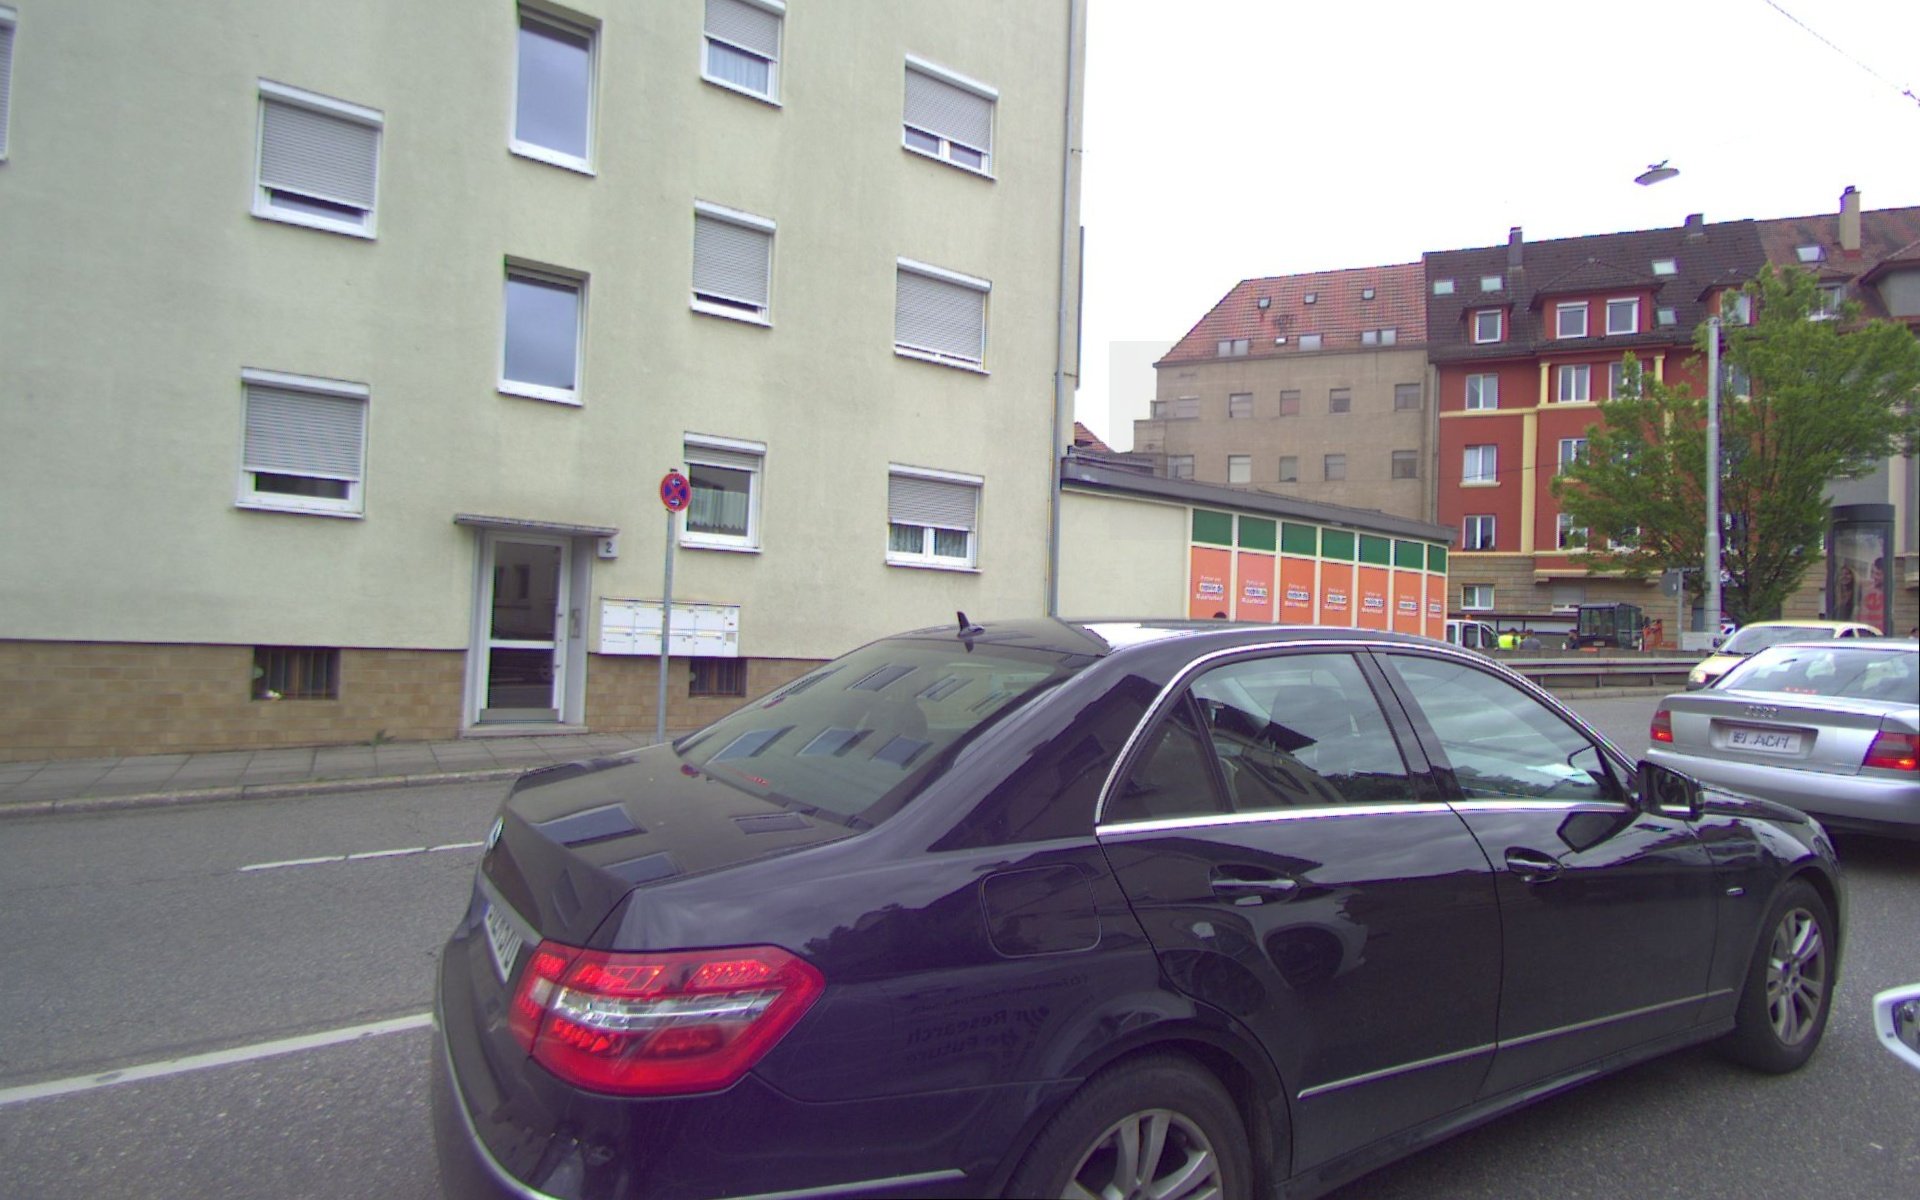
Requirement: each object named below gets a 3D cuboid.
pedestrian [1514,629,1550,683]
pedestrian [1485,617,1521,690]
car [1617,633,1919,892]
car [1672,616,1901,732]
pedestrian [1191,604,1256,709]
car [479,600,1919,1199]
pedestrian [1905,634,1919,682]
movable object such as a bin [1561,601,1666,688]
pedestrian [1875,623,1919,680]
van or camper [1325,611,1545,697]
[{"bbox_3d":[14.856,1.448,26.105,0.613,1.381,0.602,0,-1,4],"label":"pedestrian"},{"bbox_3d":[15.444,1.509,28.568,0.810,2.040,0.680,0,0,22],"label":"pedestrian"},{"bbox_3d":[6.705,0.940,7.056,4.072,1.383,1.624,1,-2,-25],"label":"car"},{"bbox_3d":[12.292,1.047,14.912,3.420,1.537,1.590,2,-3,-31],"label":"car"},{"bbox_3d":[4.321,0.905,16.481,0.771,1.659,0.683,1,0,-36],"label":"pedestrian"},{"bbox_3d":[1.106,0.769,3.388,4.785,1.448,1.984,1,0,-30],"label":"car"},{"bbox_3d":[27.460,1.654,28.580,0.572,1.356,0.576,1,0,-1],"label":"pedestrian"},{"bbox_3d":[16.548,1.107,25.385,3.510,2.040,1.363,2,-2,-42],"label":"movable object such as a bin"},{"bbox_3d":[26.717,1.455,28.525,0.724,1.567,0.795,1,0,-2],"label":"pedestrian"},{"bbox_3d":[14.529,1.573,31.021,5.894,2.369,2.686,0,-1,26],"label":"van or camper"}]
